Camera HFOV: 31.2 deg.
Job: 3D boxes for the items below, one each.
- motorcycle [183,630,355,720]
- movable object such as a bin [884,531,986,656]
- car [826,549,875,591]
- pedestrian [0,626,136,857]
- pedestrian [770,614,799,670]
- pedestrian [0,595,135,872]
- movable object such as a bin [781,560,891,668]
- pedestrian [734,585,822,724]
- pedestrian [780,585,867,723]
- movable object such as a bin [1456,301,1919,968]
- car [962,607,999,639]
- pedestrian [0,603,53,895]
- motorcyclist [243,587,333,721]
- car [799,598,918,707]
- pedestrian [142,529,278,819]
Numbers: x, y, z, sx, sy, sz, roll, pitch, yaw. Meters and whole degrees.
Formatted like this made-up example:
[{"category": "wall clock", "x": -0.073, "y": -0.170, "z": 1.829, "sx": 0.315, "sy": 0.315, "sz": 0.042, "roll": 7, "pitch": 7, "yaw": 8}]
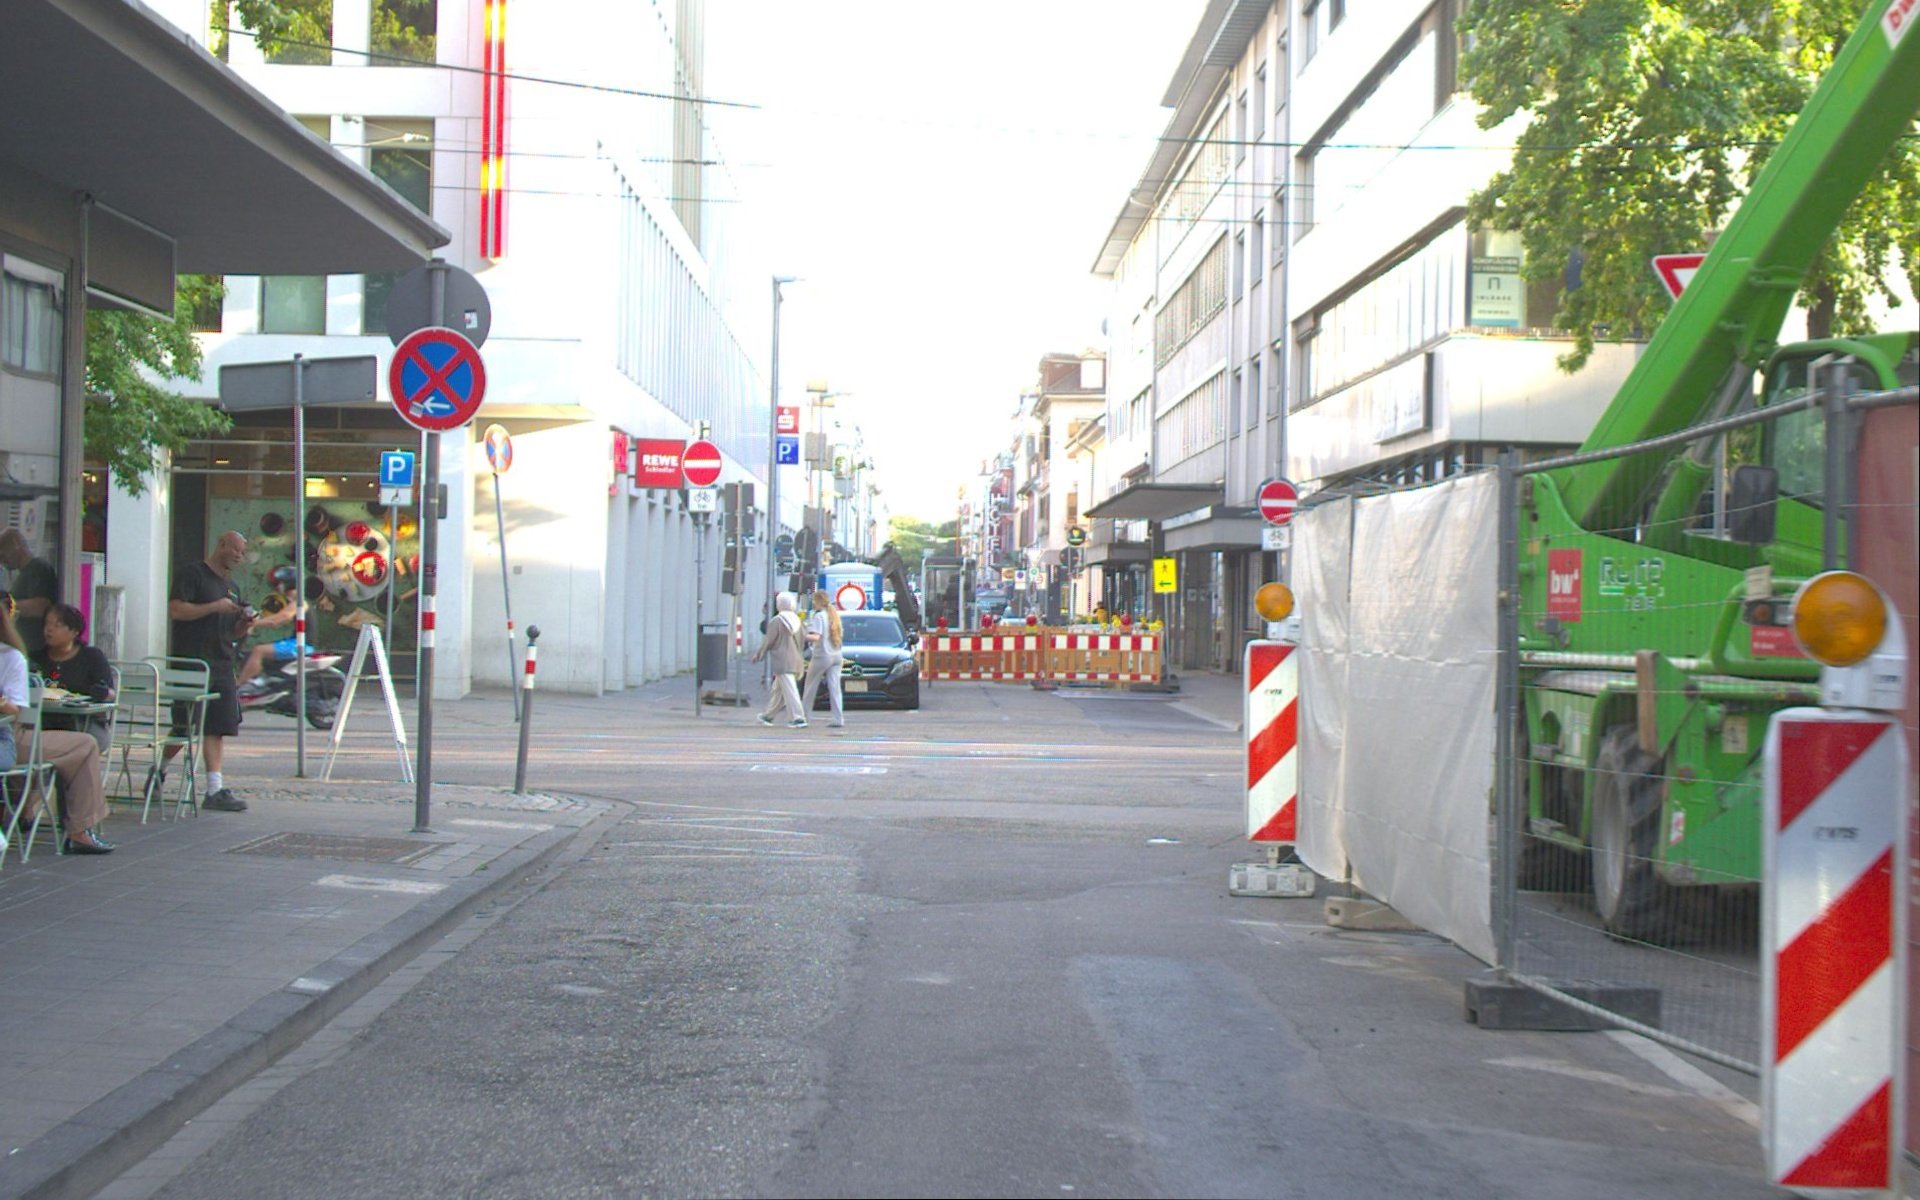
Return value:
[{"category": "motorcycle", "x": -7.232, "y": 0.782, "z": 36.027, "sx": 1.753, "sy": 0.916, "sz": 0.642, "roll": 0, "pitch": 0, "yaw": -10}, {"category": "movable object such as a bin", "x": -0.567, "y": -0.132, "z": 76.076, "sx": 2.156, "sy": 2.655, "sz": 4.573, "roll": 1, "pitch": 0, "yaw": -1}, {"category": "car", "x": -4.615, "y": -1.258, "z": 145.654, "sx": 1.993, "sy": 1.770, "sz": 4.000, "roll": 0, "pitch": 0, "yaw": -1}, {"category": "pedestrian", "x": -4.554, "y": 0.703, "z": 17.373, "sx": 0.573, "sy": 1.110, "sz": 0.713, "roll": 2, "pitch": 0, "yaw": 0}, {"category": "pedestrian", "x": -4.610, "y": 1.098, "z": 90.203, "sx": 0.716, "sy": 1.459, "sz": 0.525, "roll": 0, "pitch": 0, "yaw": 3}, {"category": "pedestrian", "x": -4.415, "y": 0.623, "z": 16.471, "sx": 0.702, "sy": 1.271, "sz": 0.713, "roll": 2, "pitch": 0, "yaw": 0}, {"category": "movable object such as a bin", "x": -2.359, "y": 0.263, "z": 66.217, "sx": 1.993, "sy": 2.007, "sz": 4.000, "roll": 0, "pitch": 0, "yaw": 0}, {"category": "pedestrian", "x": -2.158, "y": 0.640, "z": 40.756, "sx": 0.610, "sy": 1.622, "sz": 0.872, "roll": 0, "pitch": 0, "yaw": -44}, {"category": "pedestrian", "x": -1.636, "y": 0.637, "z": 41.163, "sx": 0.610, "sy": 1.622, "sz": 0.872, "roll": 0, "pitch": 0, "yaw": -44}, {"category": "movable object such as a bin", "x": 4.079, "y": 0.141, "z": 16.845, "sx": 2.605, "sy": 2.829, "sz": 4.450, "roll": 0, "pitch": 0, "yaw": 0}, {"category": "car", "x": 1.126, "y": 1.269, "z": 190.071, "sx": 1.993, "sy": 1.770, "sz": 4.000, "roll": 0, "pitch": 0, "yaw": -1}, {"category": "pedestrian", "x": -4.484, "y": 0.648, "z": 15.450, "sx": 0.573, "sy": 1.271, "sz": 0.713, "roll": 3, "pitch": 0, "yaw": 0}, {"category": "motorcyclist", "x": -7.044, "y": 0.565, "z": 36.070, "sx": 0.894, "sy": 1.384, "sz": 0.672, "roll": 1, "pitch": 0, "yaw": -11}, {"category": "car", "x": -1.520, "y": 0.749, "z": 50.715, "sx": 1.629, "sy": 1.545, "sz": 3.143, "roll": 0, "pitch": 0, "yaw": -4}, {"category": "pedestrian", "x": -4.422, "y": 0.432, "z": 20.298, "sx": 0.505, "sy": 1.662, "sz": 0.687, "roll": 2, "pitch": 0, "yaw": 9}]
